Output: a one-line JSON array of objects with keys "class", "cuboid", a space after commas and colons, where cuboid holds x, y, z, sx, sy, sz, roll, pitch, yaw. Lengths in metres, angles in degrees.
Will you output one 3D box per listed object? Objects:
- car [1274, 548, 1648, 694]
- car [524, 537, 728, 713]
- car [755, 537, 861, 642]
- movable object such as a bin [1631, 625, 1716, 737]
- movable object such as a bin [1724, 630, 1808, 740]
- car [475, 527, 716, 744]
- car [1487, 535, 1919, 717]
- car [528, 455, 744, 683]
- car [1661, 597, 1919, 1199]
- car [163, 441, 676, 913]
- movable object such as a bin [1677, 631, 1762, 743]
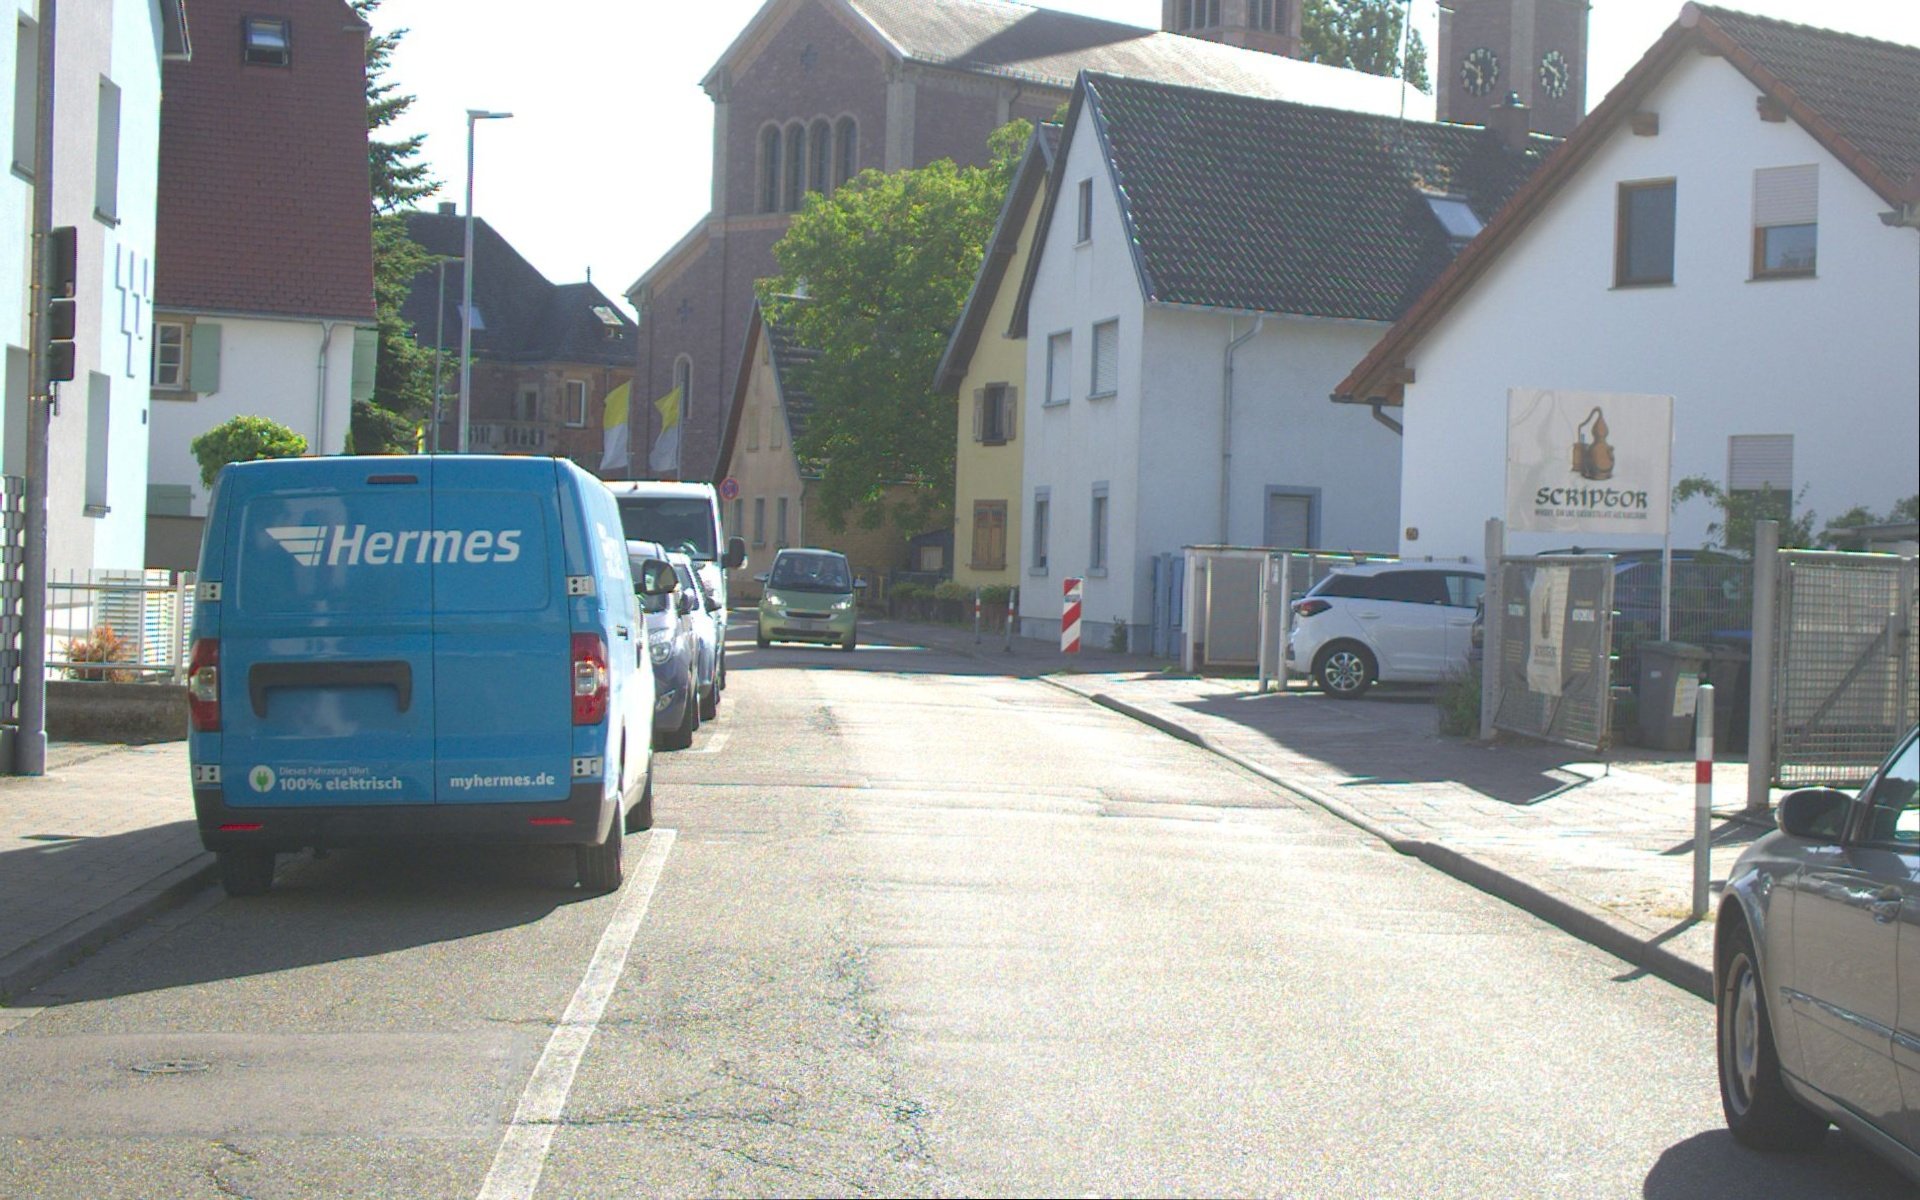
[{"class": "car", "cuboid": [5.387, 0.205, 37.345, 3.913, 1.487, 1.847, 1, 1, 6]}, {"class": "car", "cuboid": [-3.044, 0.184, 32.017, 1.711, 1.499, 4.236, 0, 1, -3]}, {"class": "car", "cuboid": [-2.372, -0.183, 53.376, 1.574, 1.541, 2.966, 1, 1, -3]}, {"class": "movable object such as a bin", "cuboid": [6.106, 0.693, 29.421, 0.515, 0.920, 0.423, 4, 0, -32]}, {"class": "movable object such as a bin", "cuboid": [7.034, 0.738, 30.006, 0.515, 0.920, 0.423, 4, 0, -32]}, {"class": "car", "cuboid": [-2.851, 0.226, 27.540, 1.714, 1.593, 3.926, 0, 1, -3]}, {"class": "car", "cuboid": [7.426, 0.228, 34.066, 4.036, 1.682, 1.912, 0, 2, -31]}, {"class": "car", "cuboid": [-3.576, -0.394, 39.009, 2.196, 2.381, 6.065, 0, 1, -3]}, {"class": "car", "cuboid": [2.938, 0.802, 7.624, 1.811, 1.470, 4.660, 2, 1, 1]}, {"class": "car", "cuboid": [-2.406, 0.261, 16.524, 1.902, 1.911, 5.071, 0, 1, -3]}, {"class": "movable object such as a bin", "cuboid": [6.563, 0.751, 29.715, 0.515, 0.920, 0.423, 4, 0, -32]}]
